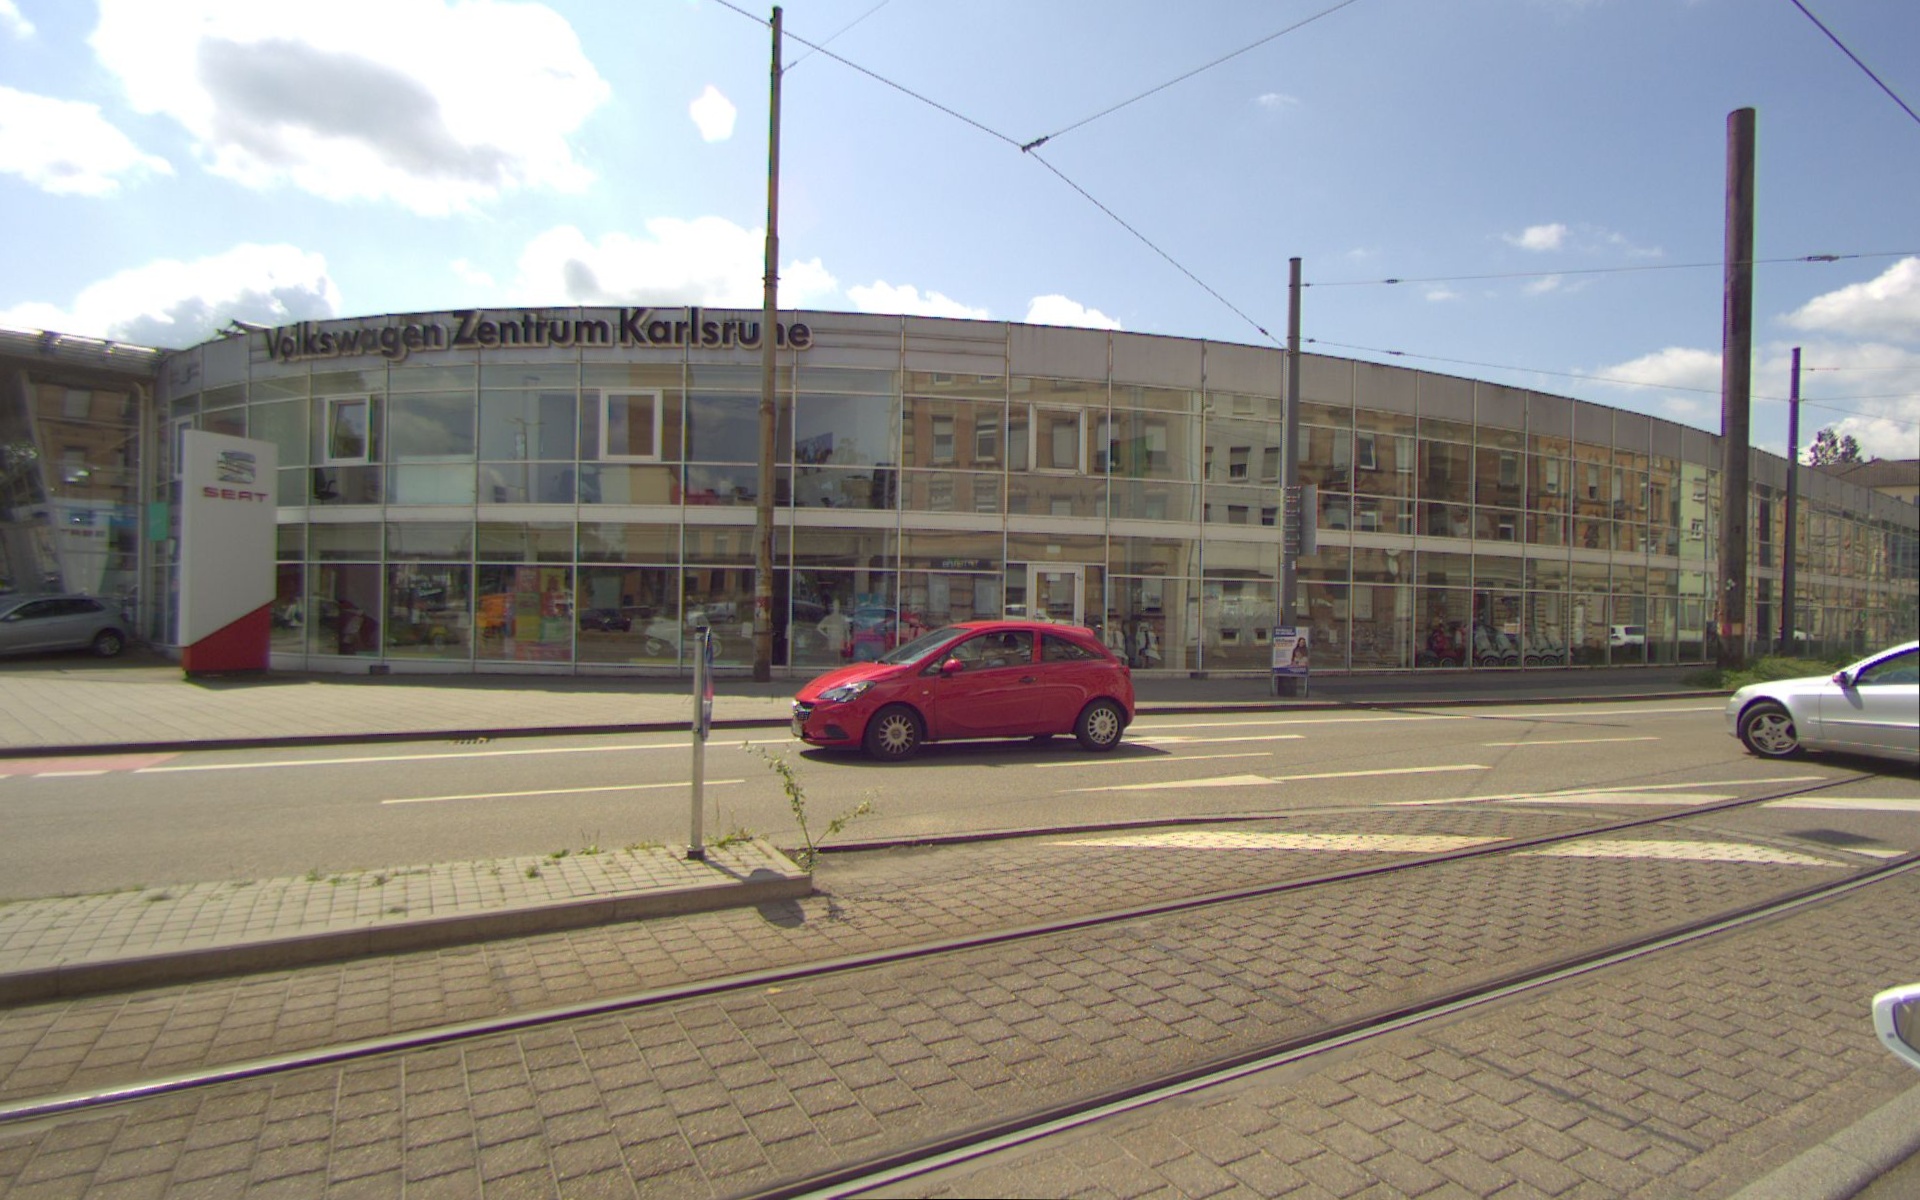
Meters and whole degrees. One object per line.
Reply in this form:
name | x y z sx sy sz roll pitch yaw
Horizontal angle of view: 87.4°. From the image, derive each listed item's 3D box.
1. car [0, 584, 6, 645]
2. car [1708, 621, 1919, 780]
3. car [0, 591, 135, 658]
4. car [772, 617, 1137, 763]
car | -24.989 0.368 23.346 1.631 1.494 3.780 1 1 30
car | 9.758 0.963 9.655 1.786 1.439 4.184 1 0 -5
car | -21.829 0.531 23.184 1.798 1.466 3.948 2 0 17
car | -0.052 0.949 11.517 3.848 1.447 1.697 1 -2 -24
